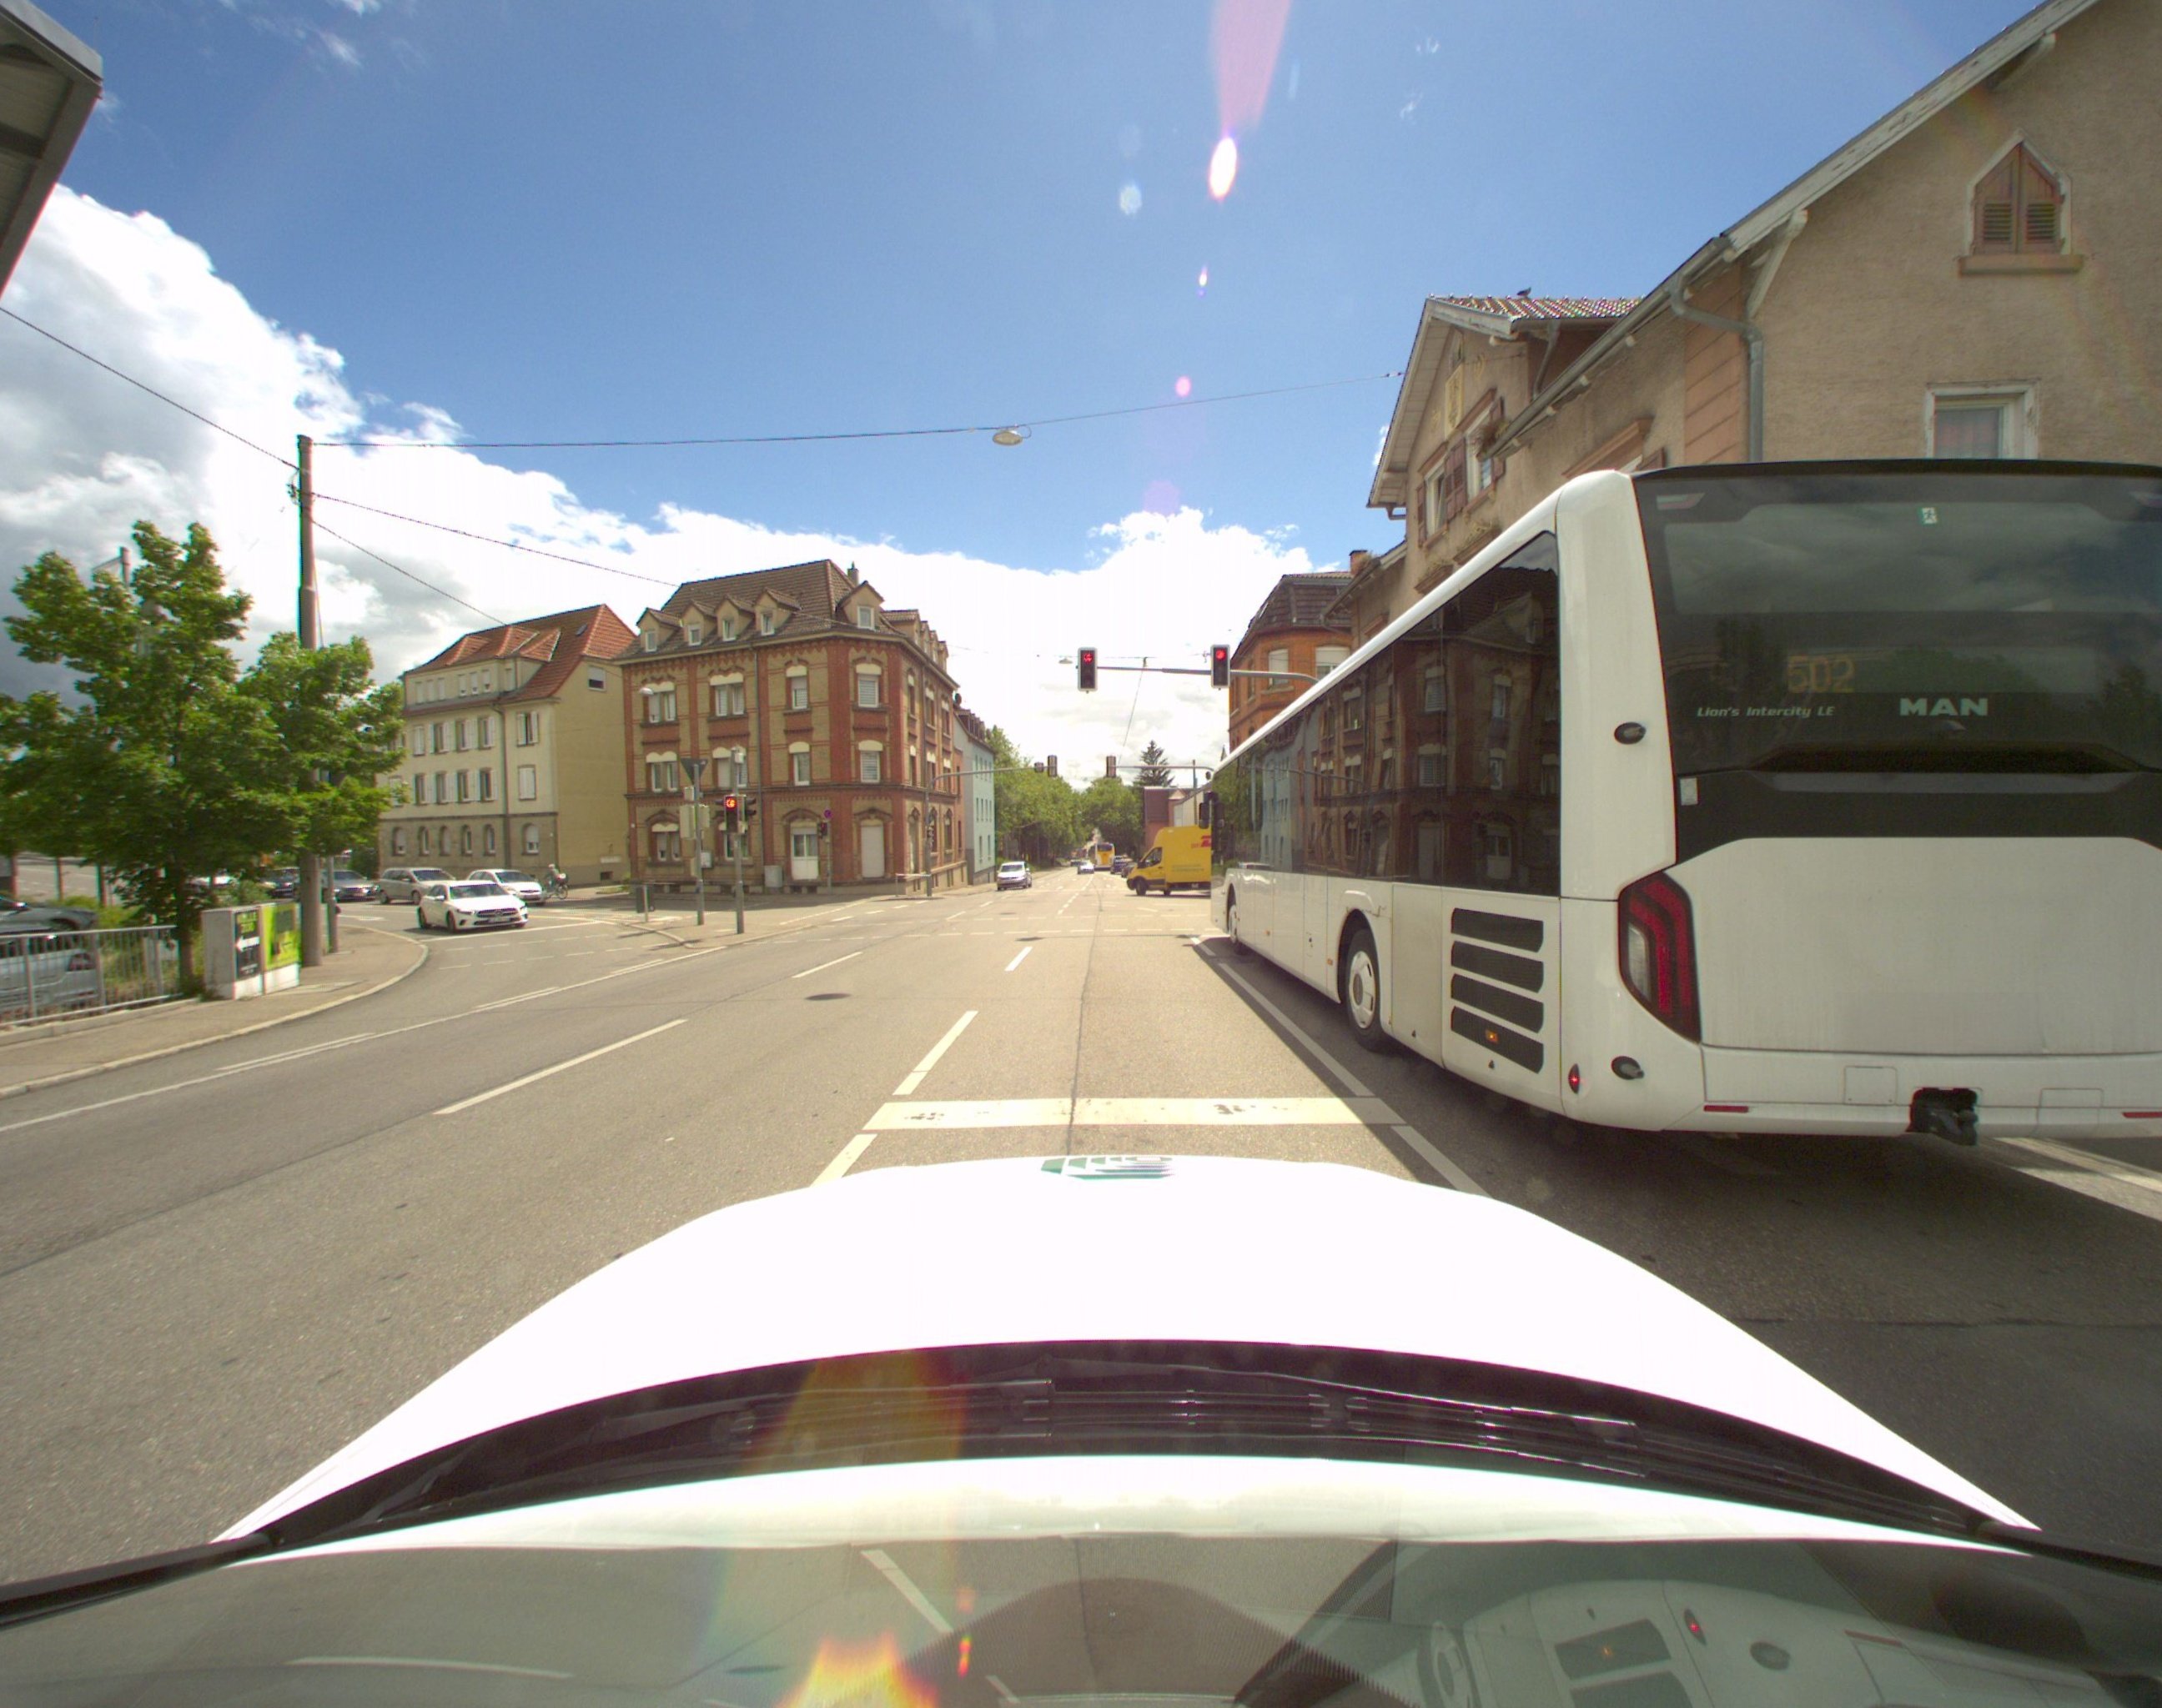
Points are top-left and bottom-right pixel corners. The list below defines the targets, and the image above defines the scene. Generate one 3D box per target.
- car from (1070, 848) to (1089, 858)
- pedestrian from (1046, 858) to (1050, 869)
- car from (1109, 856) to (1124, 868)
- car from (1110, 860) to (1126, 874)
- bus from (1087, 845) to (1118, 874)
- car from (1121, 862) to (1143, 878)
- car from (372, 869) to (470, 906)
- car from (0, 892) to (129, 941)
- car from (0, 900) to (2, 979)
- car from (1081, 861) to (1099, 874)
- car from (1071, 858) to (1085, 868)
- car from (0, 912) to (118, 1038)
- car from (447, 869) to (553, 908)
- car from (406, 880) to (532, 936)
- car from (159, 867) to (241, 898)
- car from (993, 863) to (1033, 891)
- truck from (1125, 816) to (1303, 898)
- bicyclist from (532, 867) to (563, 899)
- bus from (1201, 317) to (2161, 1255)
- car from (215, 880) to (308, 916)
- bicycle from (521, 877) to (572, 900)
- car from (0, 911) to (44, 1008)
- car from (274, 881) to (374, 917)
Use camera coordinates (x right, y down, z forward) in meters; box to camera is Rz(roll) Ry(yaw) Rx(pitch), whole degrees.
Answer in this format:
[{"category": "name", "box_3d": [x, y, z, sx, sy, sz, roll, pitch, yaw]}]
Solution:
[{"category": "car", "box_3d": [-0.433, -0.223, 240.573, 2.121, 3.070, 5.661, -1, -1, 42]}, {"category": "pedestrian", "box_3d": [-5.512, 1.624, 136.745, 0.604, 1.758, 0.653, -2, 0, 0]}, {"category": "car", "box_3d": [5.605, 1.258, 129.140, 2.086, 1.830, 4.140, -1, 0, -1]}, {"category": "car", "box_3d": [3.889, 1.343, 86.053, 1.603, 1.376, 4.002, -2, 0, 2]}, {"category": "bus", "box_3d": [2.806, 0.710, 110.351, 3.292, 3.631, 11.233, -2, 0, -2]}, {"category": "car", "box_3d": [4.668, 1.428, 74.821, 1.858, 1.367, 4.549, -2, 0, 2]}, {"category": "car", "box_3d": [-29.210, 1.468, 36.055, 3.951, 1.519, 1.757, -1, 0, 24]}, {"category": "car", "box_3d": [-29.255, 1.730, 22.221, 1.795, 1.186, 4.025, -1, 0, 31]}, {"category": "car", "box_3d": [-23.405, 1.736, 16.439, 3.371, 1.575, 1.526, -1, 0, 30]}, {"category": "car", "box_3d": [1.023, 1.514, 92.875, 1.858, 1.367, 4.549, -2, 0, 2]}, {"category": "car", "box_3d": [-0.538, 1.655, 148.783, 2.199, 1.613, 4.549, -2, 0, 2]}, {"category": "car", "box_3d": [-16.118, 1.741, 12.190, 3.638, 1.575, 1.766, -1, -2, 34]}, {"category": "car", "box_3d": [-23.601, 1.391, 33.068, 3.951, 1.497, 1.711, -1, 0, 24]}, {"category": "car", "box_3d": [-18.247, 1.541, 24.223, 4.334, 1.447, 1.875, -2, 0, 37]}, {"category": "car", "box_3d": [-47.454, 1.505, 43.859, 4.291, 1.586, 2.012, -1, 0, 29]}, {"category": "car", "box_3d": [-4.149, 1.378, 50.560, 1.928, 1.563, 4.390, -2, 0, 2]}, {"category": "truck", "box_3d": [5.118, 0.139, 32.123, 6.488, 2.913, 2.565, -1, -1, 40]}, {"category": "bicyclist", "box_3d": [-25.584, 1.383, 39.058, 1.065, 1.499, 0.592, -2, 0, 10]}, {"category": "bus", "box_3d": [3.556, -0.213, 9.297, 2.893, 3.510, 12.492, 0, 0, 2]}, {"category": "car", "box_3d": [-41.186, 2.217, 40.915, 3.951, 1.642, 2.011, -2, 0, 24]}, {"category": "bicycle", "box_3d": [-25.616, 1.646, 39.055, 2.172, 1.019, 0.608, -2, 0, 9]}, {"category": "car", "box_3d": [-19.713, 1.833, 14.159, 3.744, 1.523, 1.526, -1, 0, 30]}, {"category": "car", "box_3d": [-35.454, 2.077, 38.147, 3.951, 1.519, 2.011, -1, 0, 24]}]
